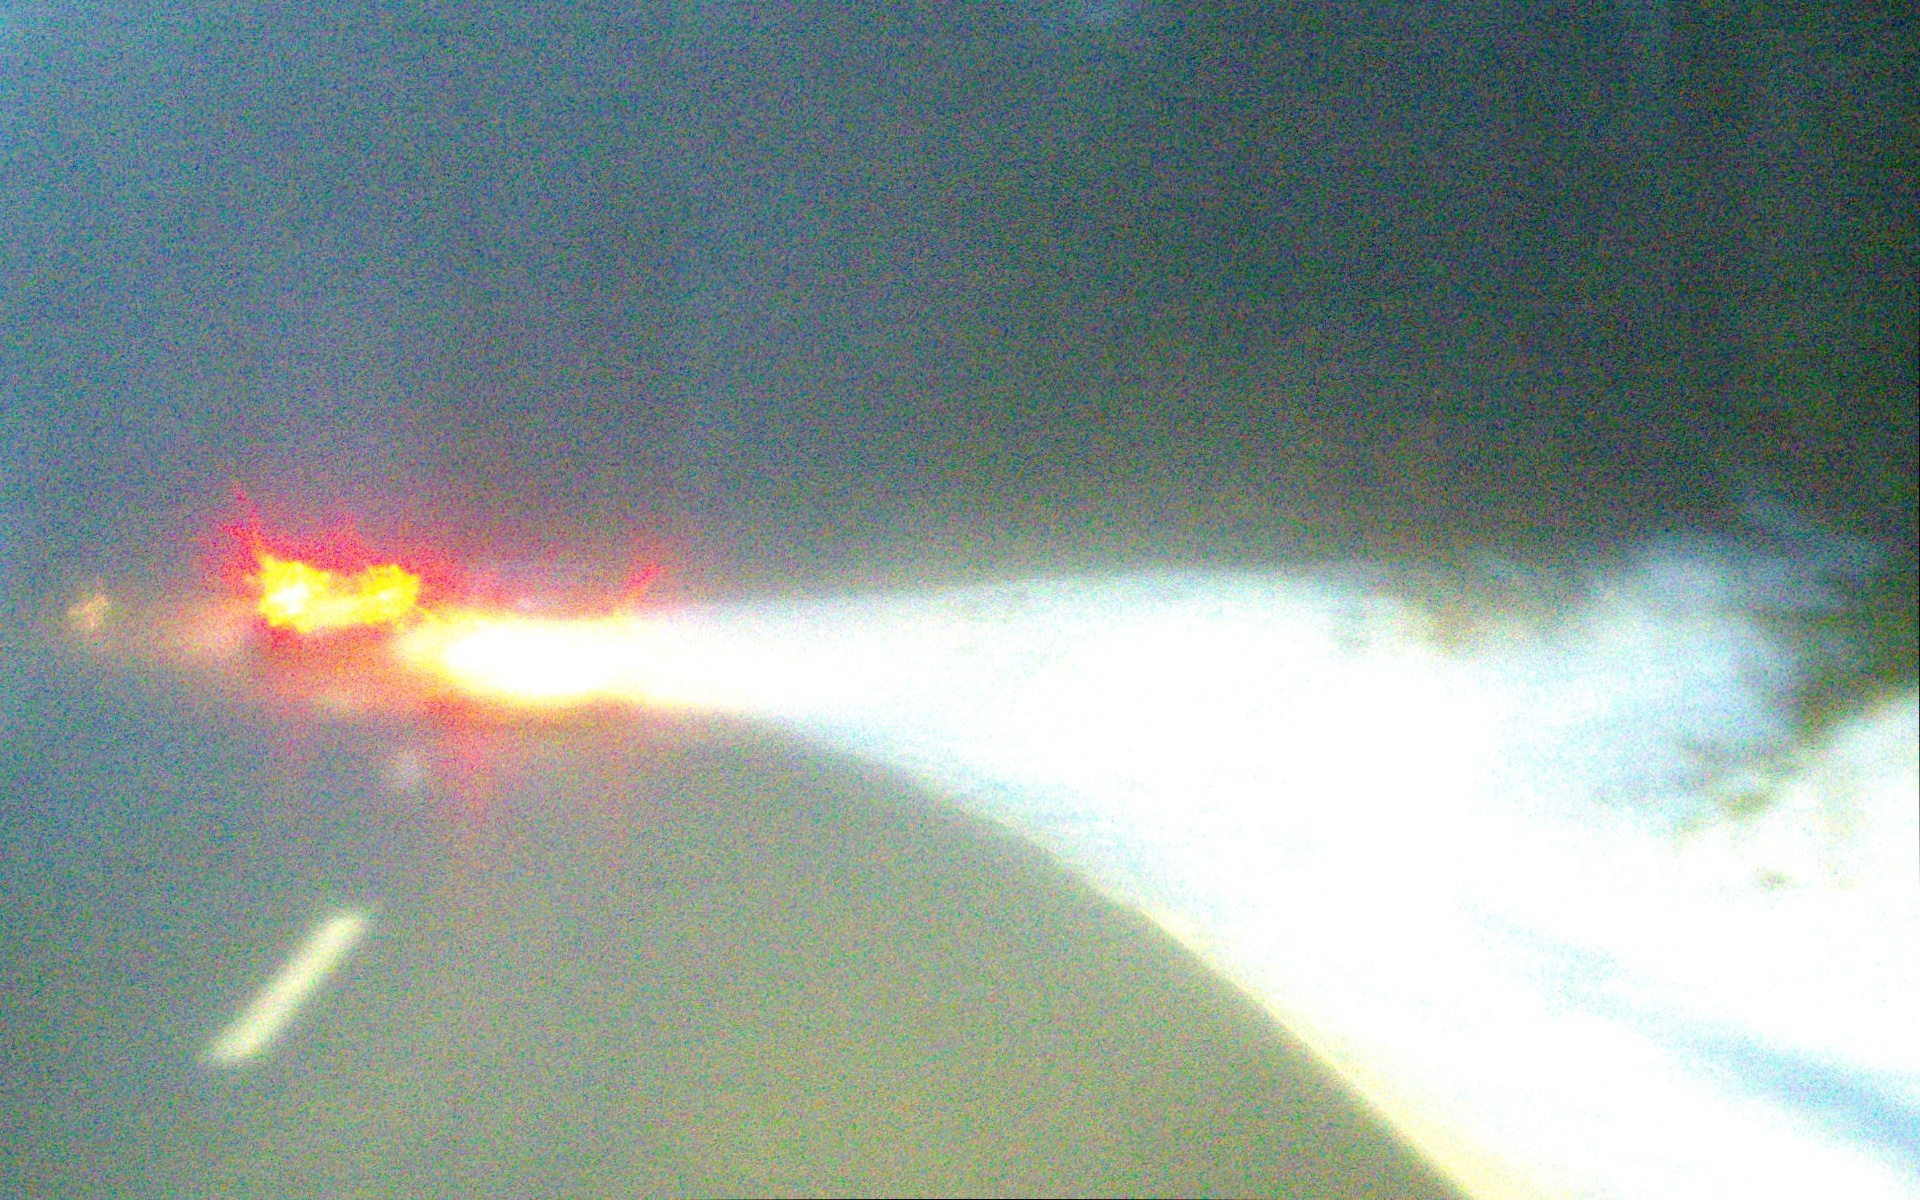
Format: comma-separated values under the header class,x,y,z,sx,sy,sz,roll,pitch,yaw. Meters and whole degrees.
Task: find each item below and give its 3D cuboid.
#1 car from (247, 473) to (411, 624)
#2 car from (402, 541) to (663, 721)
class,x,y,z,sx,sy,sz,roll,pitch,yaw
car,-8.793,-0.665,47.745,1.993,1.777,4.001,6,-2,-11
car,-3.915,0.277,30.947,1.945,1.376,4.001,4,-1,-11
